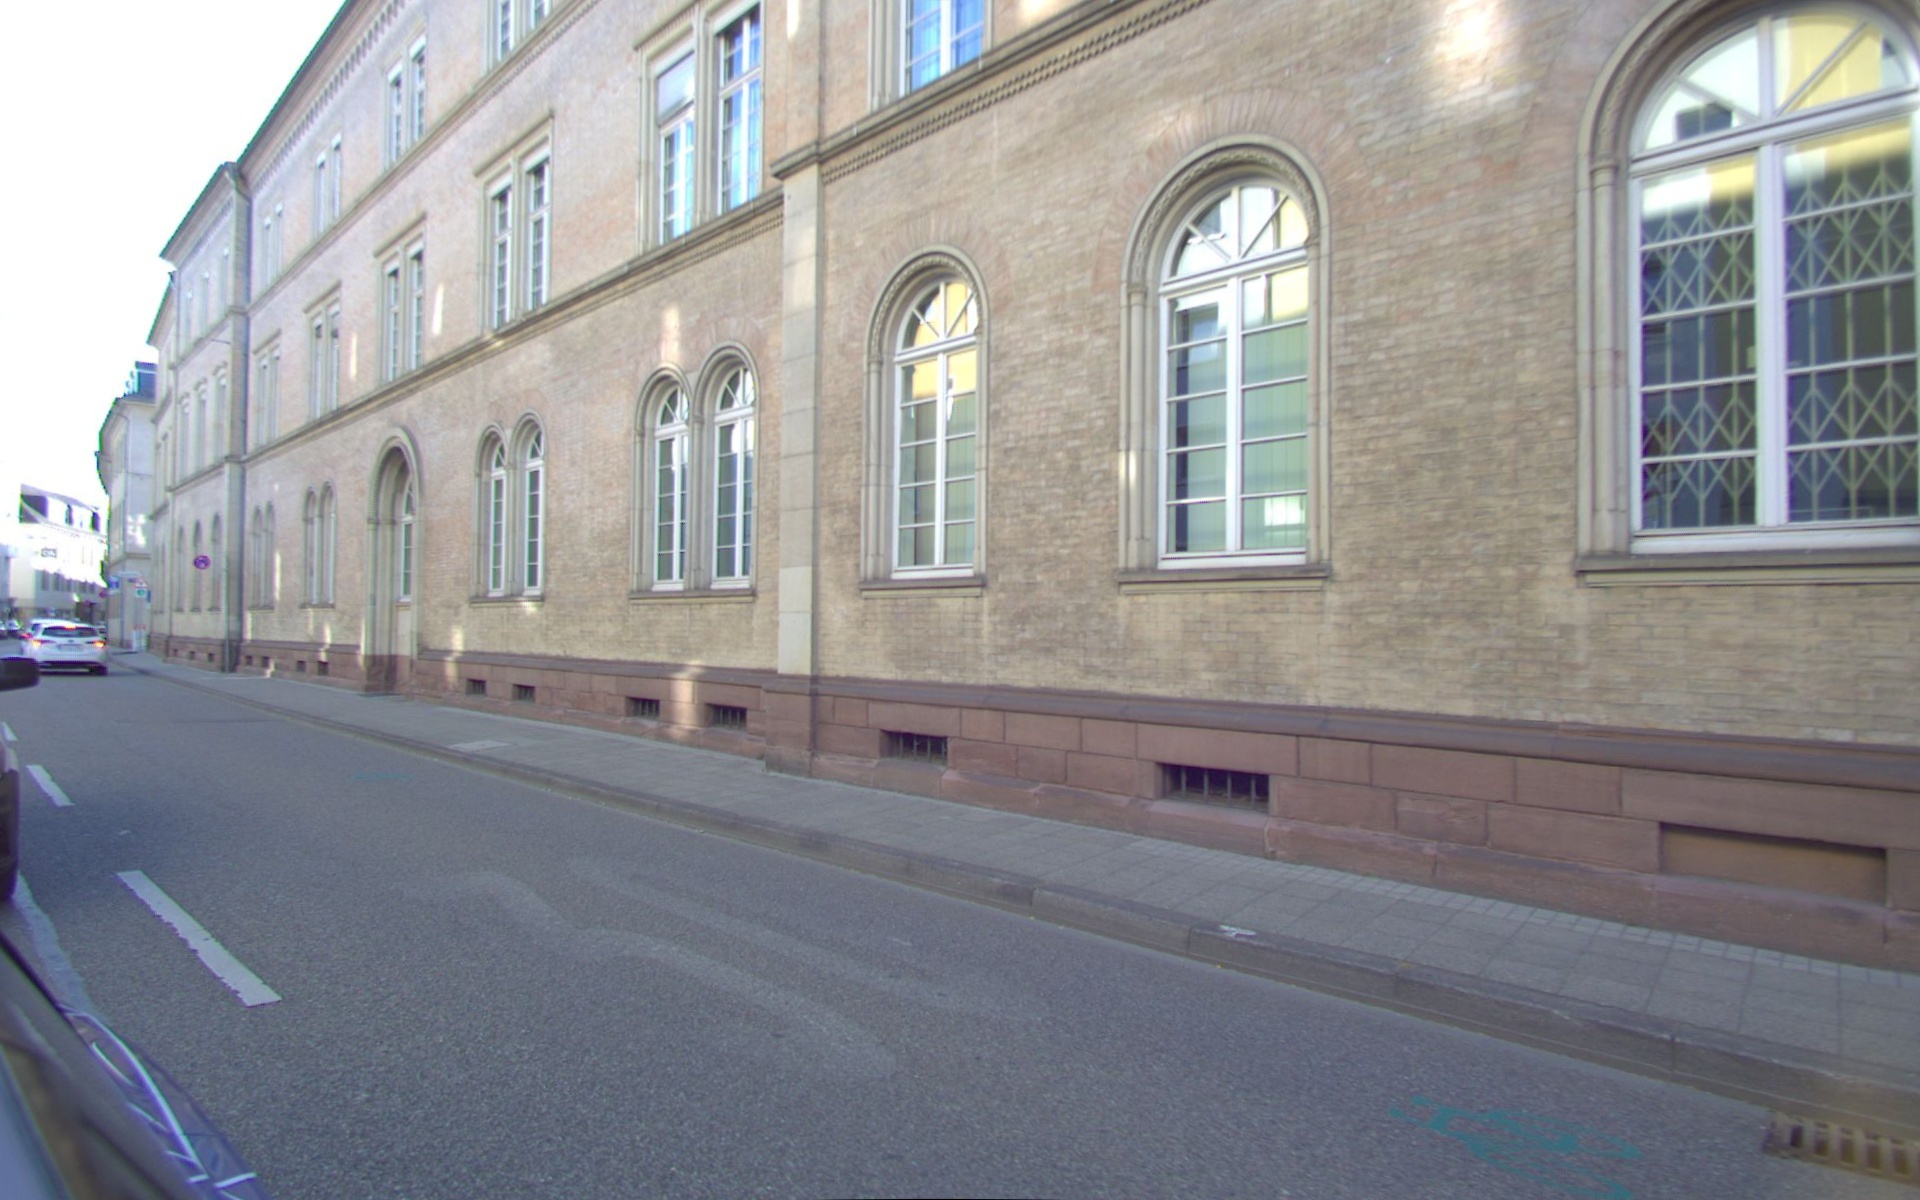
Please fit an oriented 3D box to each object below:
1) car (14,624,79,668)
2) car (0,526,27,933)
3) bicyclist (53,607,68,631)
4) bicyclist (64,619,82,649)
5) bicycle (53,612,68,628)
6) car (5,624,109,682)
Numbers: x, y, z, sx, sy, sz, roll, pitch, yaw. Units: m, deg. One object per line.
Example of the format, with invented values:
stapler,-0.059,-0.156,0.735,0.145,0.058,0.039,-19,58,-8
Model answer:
car,-35.142,1.748,38.904,1.665,1.595,4.278,5,-5,-43
car,-6.915,0.612,5.769,5.339,1.850,1.795,-1,-2,42
bicyclist,-62.235,1.308,70.038,0.642,1.579,0.962,5,-5,-40
bicyclist,-44.184,1.685,50.416,0.596,1.454,0.579,2,-3,-45
bicycle,-62.236,1.397,70.046,0.642,1.014,1.809,5,-5,-40
car,-25.720,1.477,28.778,4.547,1.487,1.865,-1,-4,45
